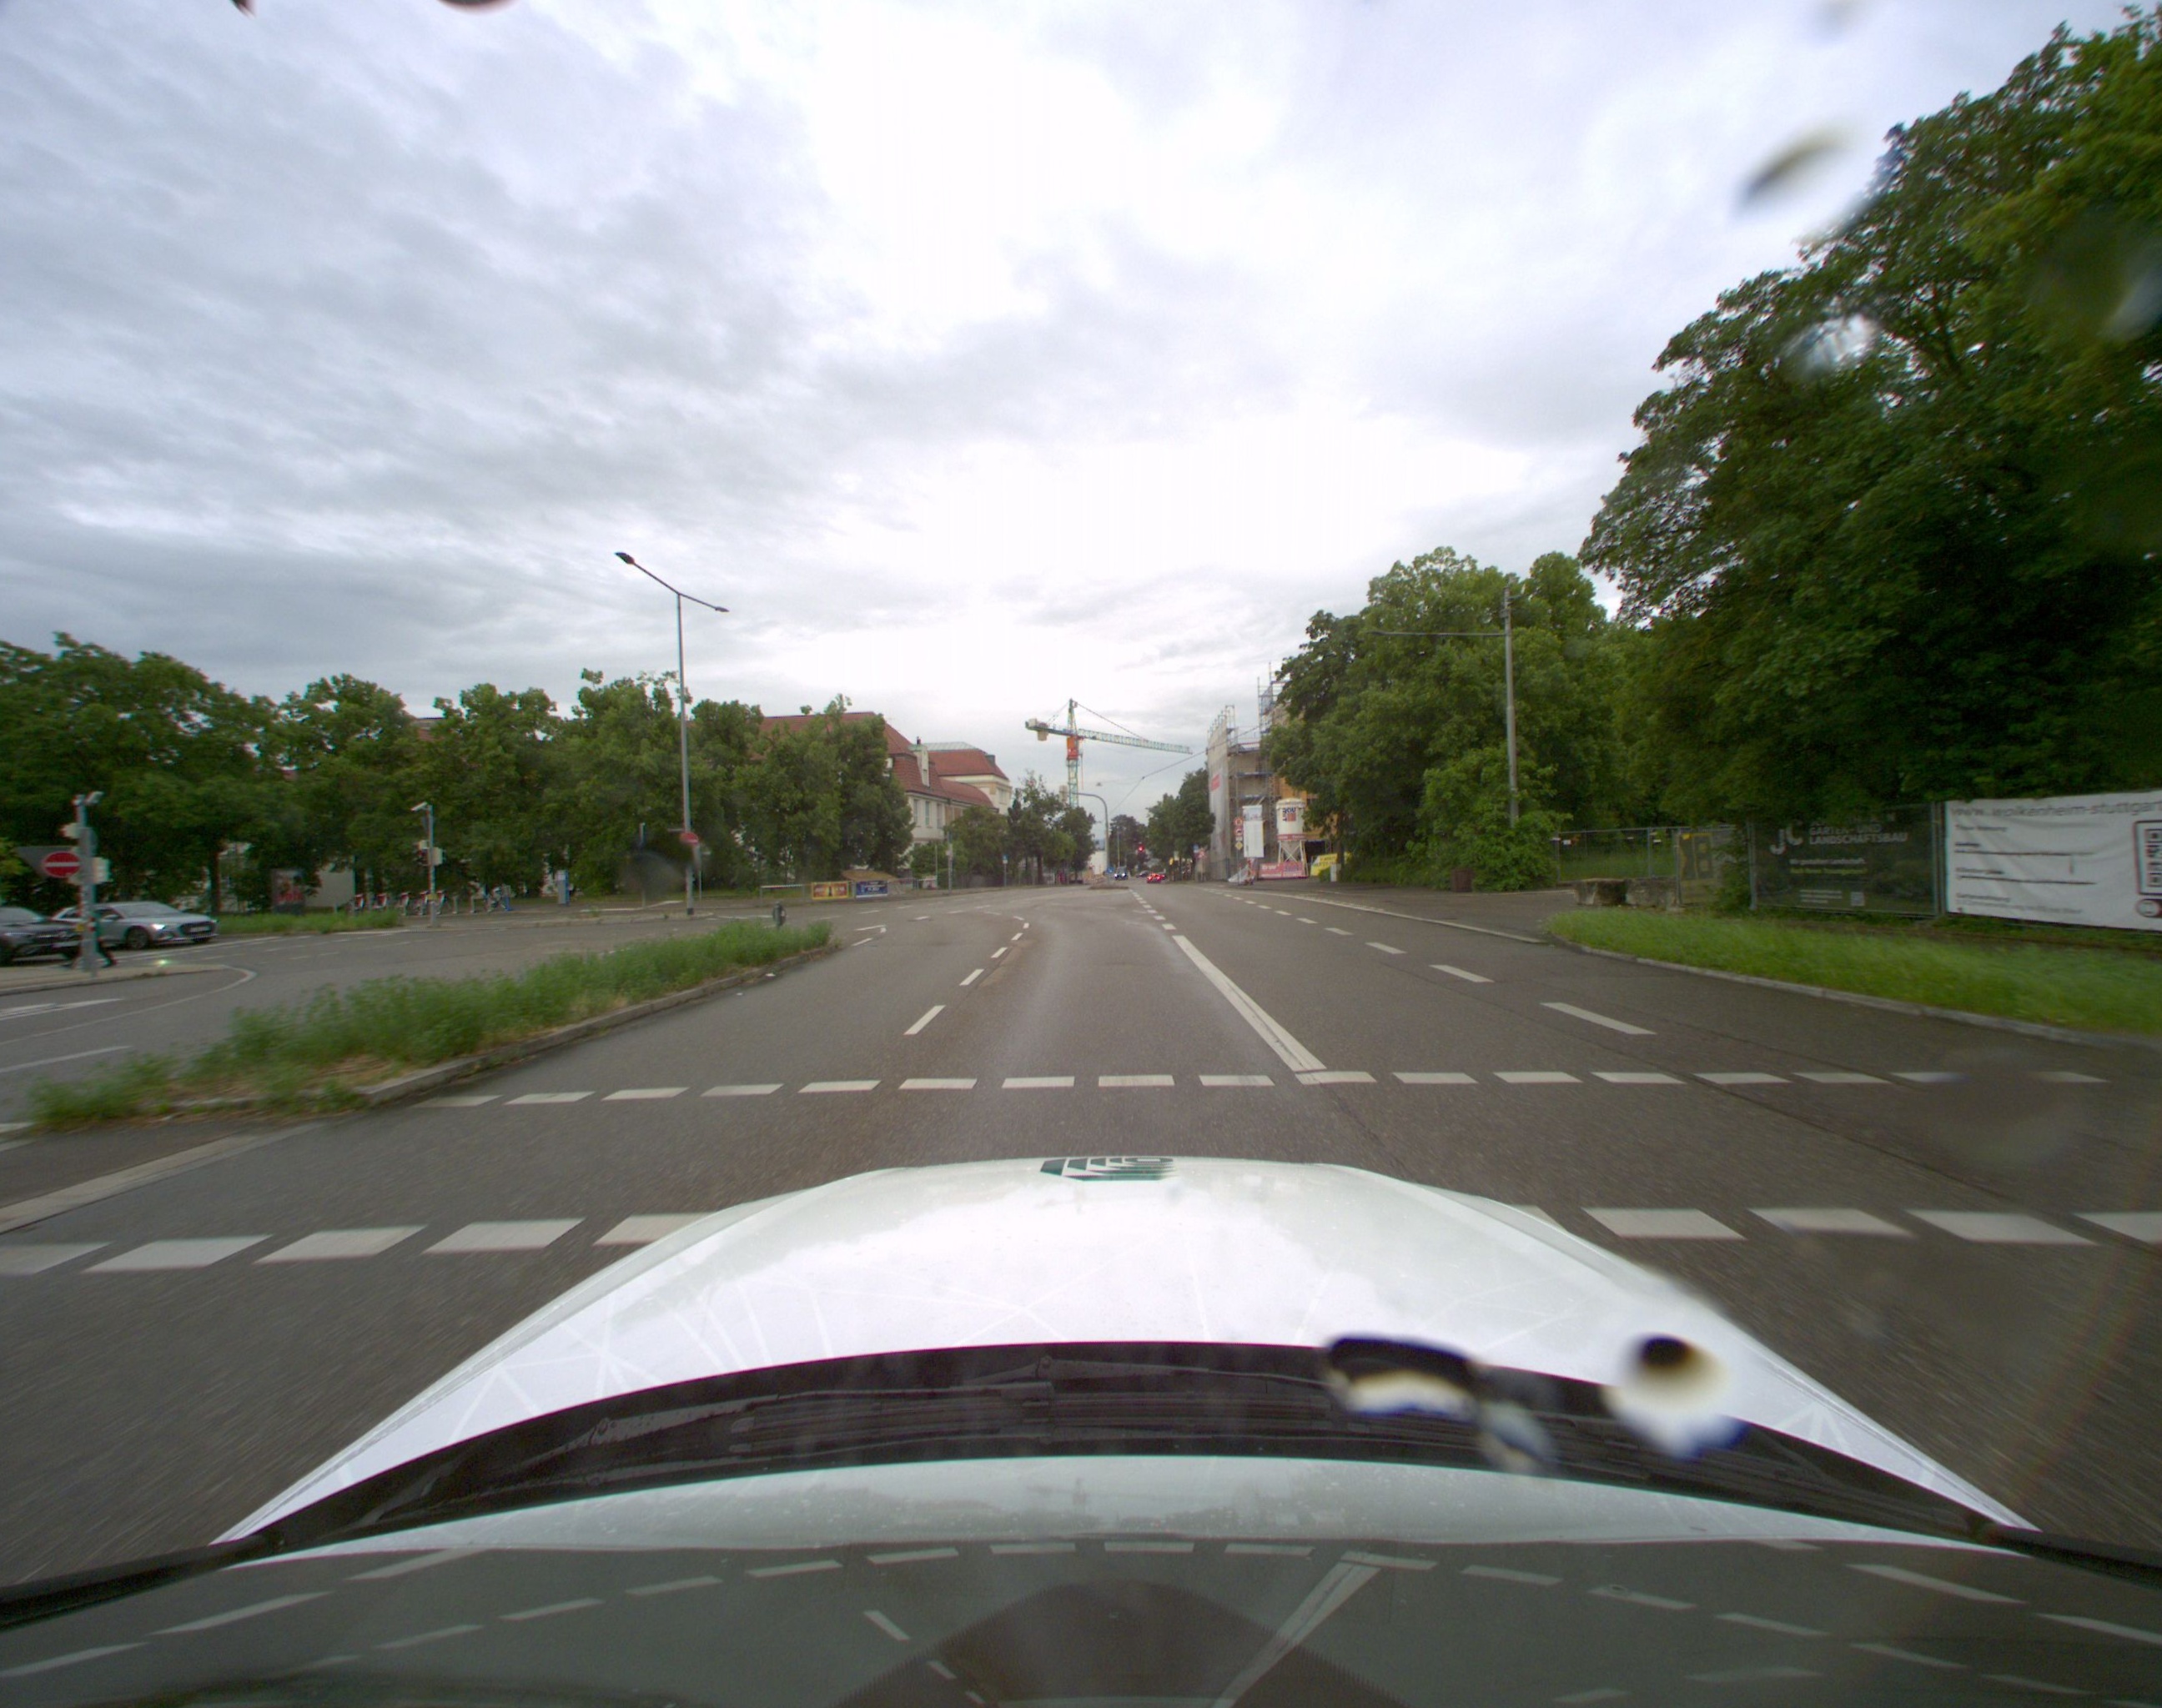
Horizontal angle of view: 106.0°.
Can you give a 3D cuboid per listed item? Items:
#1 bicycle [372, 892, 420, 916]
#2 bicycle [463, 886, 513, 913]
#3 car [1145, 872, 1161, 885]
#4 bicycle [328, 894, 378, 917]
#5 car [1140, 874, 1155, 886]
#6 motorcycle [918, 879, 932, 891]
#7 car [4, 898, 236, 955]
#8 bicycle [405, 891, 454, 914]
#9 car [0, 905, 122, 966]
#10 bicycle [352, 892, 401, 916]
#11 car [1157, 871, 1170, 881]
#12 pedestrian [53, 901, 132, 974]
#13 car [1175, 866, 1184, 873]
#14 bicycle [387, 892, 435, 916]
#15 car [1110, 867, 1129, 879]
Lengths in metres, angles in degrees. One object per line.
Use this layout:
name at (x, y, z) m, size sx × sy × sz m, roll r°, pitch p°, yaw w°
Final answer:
bicycle at (-33.924, 2.455, 40.356) m, size 0.649 × 1.071 × 1.982 m, roll -1°, pitch -1°, yaw 2°
bicycle at (-29.453, 2.260, 40.511) m, size 0.987 × 1.249 × 1.982 m, roll -1°, pitch -1°, yaw 2°
car at (10.682, 3.557, 120.951) m, size 1.986 × 1.750 × 4.001 m, roll -2°, pitch -1°, yaw 1°
bicycle at (-35.980, 2.532, 40.277) m, size 0.649 × 1.071 × 1.982 m, roll -1°, pitch -1°, yaw 2°
car at (10.440, 4.031, 127.871) m, size 1.986 × 1.750 × 4.001 m, roll -2°, pitch -1°, yaw 1°
motorcycle at (-11.696, 2.338, 61.228) m, size 0.846 × 0.877 × 0.877 m, roll -1°, pitch -1°, yaw 2°
car at (-30.139, 2.250, 25.655) m, size 5.005 × 1.548 × 2.001 m, roll -1°, pitch -1°, yaw 1°
bicycle at (-32.285, 2.397, 40.409) m, size 0.798 × 1.071 × 1.982 m, roll -1°, pitch -1°, yaw 2°
car at (-30.137, 2.237, 22.483) m, size 5.005 × 1.500 × 2.001 m, roll -1°, pitch -1°, yaw 1°
bicycle at (-35.002, 2.490, 40.490) m, size 0.649 × 1.071 × 1.982 m, roll -1°, pitch -1°, yaw 2°
car at (16.473, 4.395, 162.203) m, size 1.979 × 1.750 × 4.016 m, roll -2°, pitch -1°, yaw 15°
pedestrian at (-24.793, 2.073, 20.440) m, size 0.916 × 1.727 × 0.949 m, roll -1°, pitch -1°, yaw 14°
car at (25.966, 4.080, 214.690) m, size 1.980 × 1.750 × 4.014 m, roll -2°, pitch -1°, yaw 13°
bicycle at (-33.035, 2.453, 40.180) m, size 0.649 × 1.071 × 1.982 m, roll -1°, pitch -1°, yaw 2°
car at (7.753, 3.838, 163.651) m, size 2.829 × 2.403 × 6.209 m, roll -1°, pitch -1°, yaw 13°
